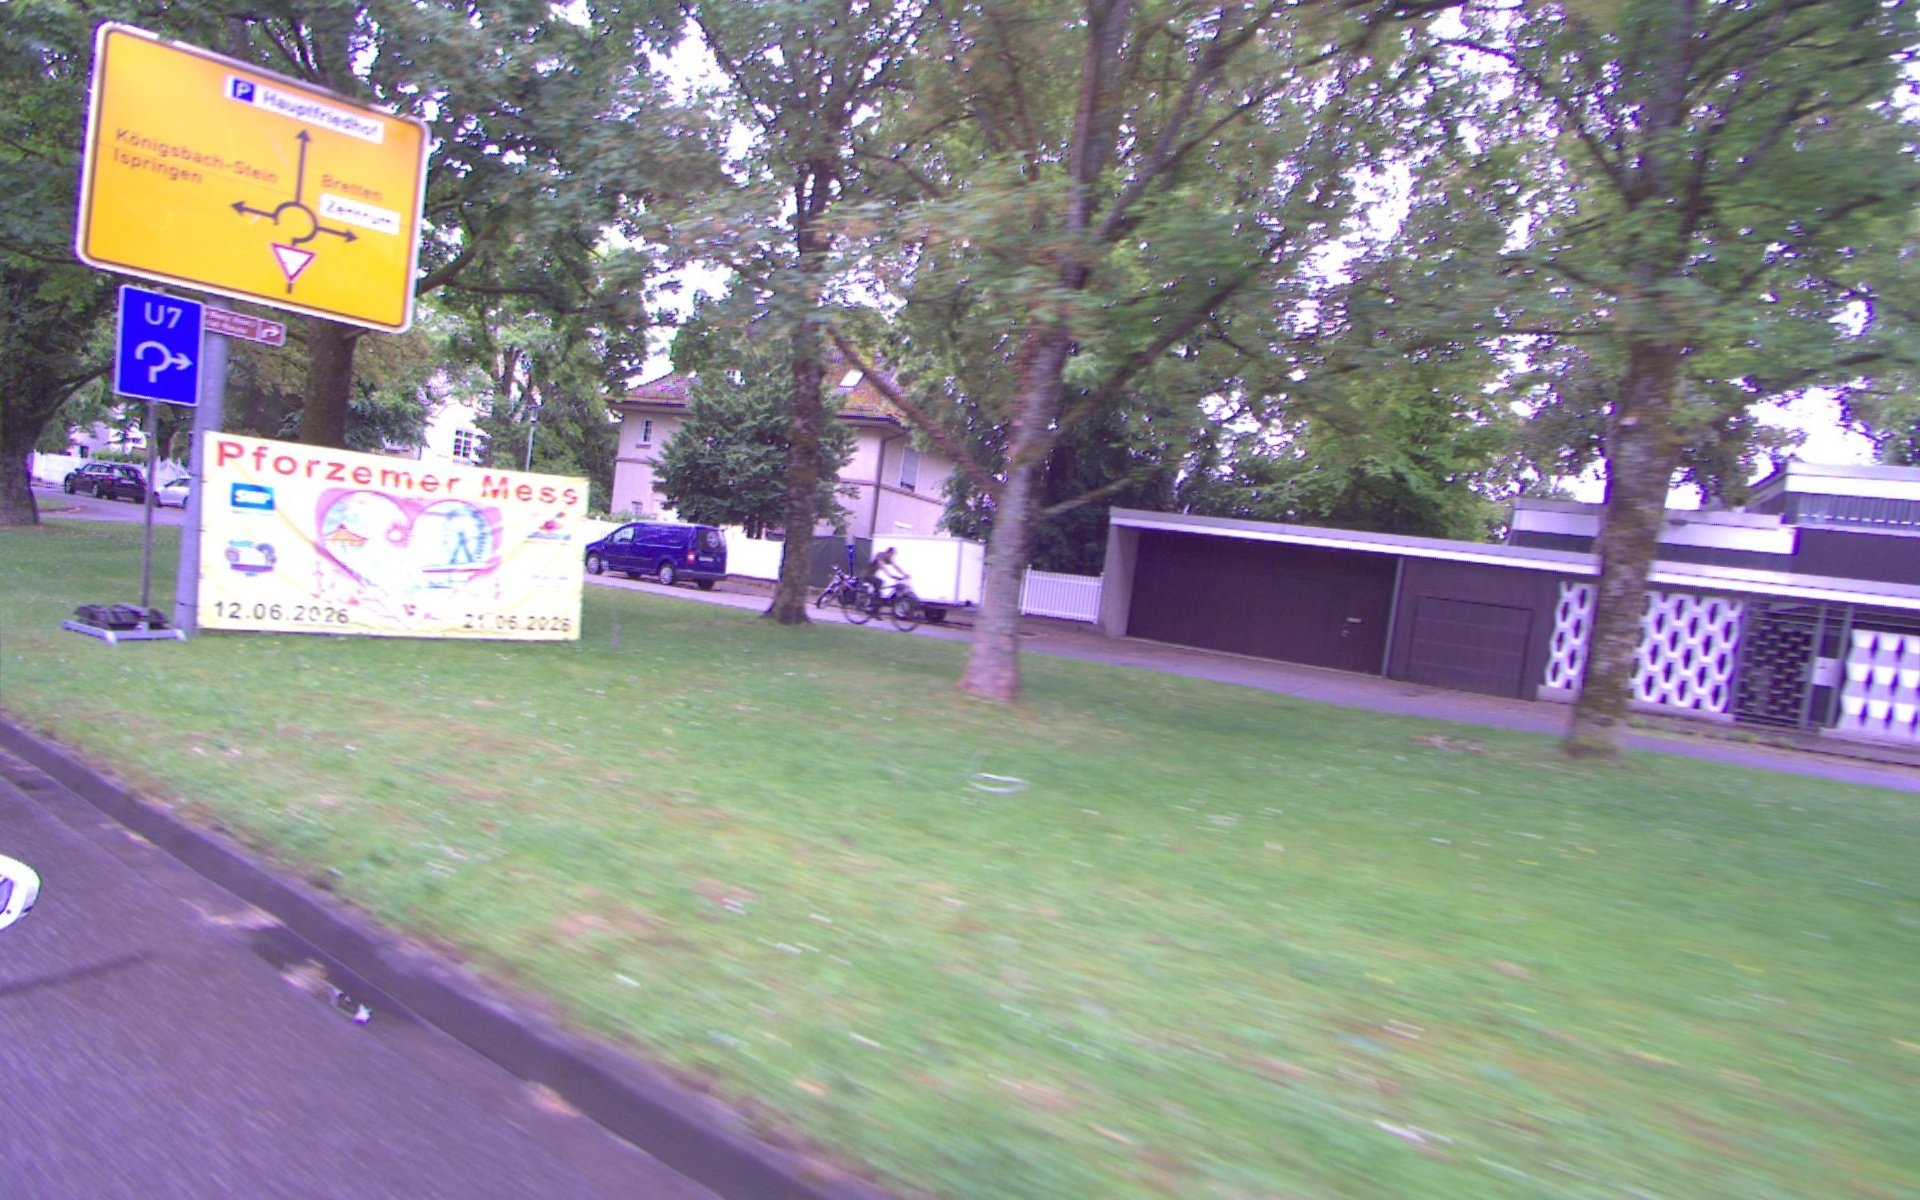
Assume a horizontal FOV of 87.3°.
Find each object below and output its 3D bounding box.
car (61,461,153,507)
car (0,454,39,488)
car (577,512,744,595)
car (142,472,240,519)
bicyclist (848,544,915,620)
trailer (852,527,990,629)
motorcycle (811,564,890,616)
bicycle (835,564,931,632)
[{"bbox_3d":[-38.279,-5.193,45.122,4.041,1.550,1.803,8,3,29],"label":"car"},{"bbox_3d":[-48.506,-6.637,50.732,4.041,1.430,1.803,8,3,29],"label":"car"},{"bbox_3d":[-8.818,-1.377,29.549,4.568,1.834,1.942,9,4,29],"label":"car"},{"bbox_3d":[-31.803,-4.339,41.575,3.939,1.429,1.618,8,3,26],"label":"car"},{"bbox_3d":[-1.590,-0.363,20.357,0.983,1.408,0.745,7,1,32],"label":"bicyclist"},{"bbox_3d":[-0.974,-0.551,25.053,2.898,2.182,1.438,7,2,26],"label":"trailer"},{"bbox_3d":[-2.811,-0.251,25.926,1.876,1.107,0.651,6,3,-39],"label":"motorcycle"},{"bbox_3d":[-1.566,-0.048,20.327,1.832,1.153,0.596,7,1,32],"label":"bicycle"}]
